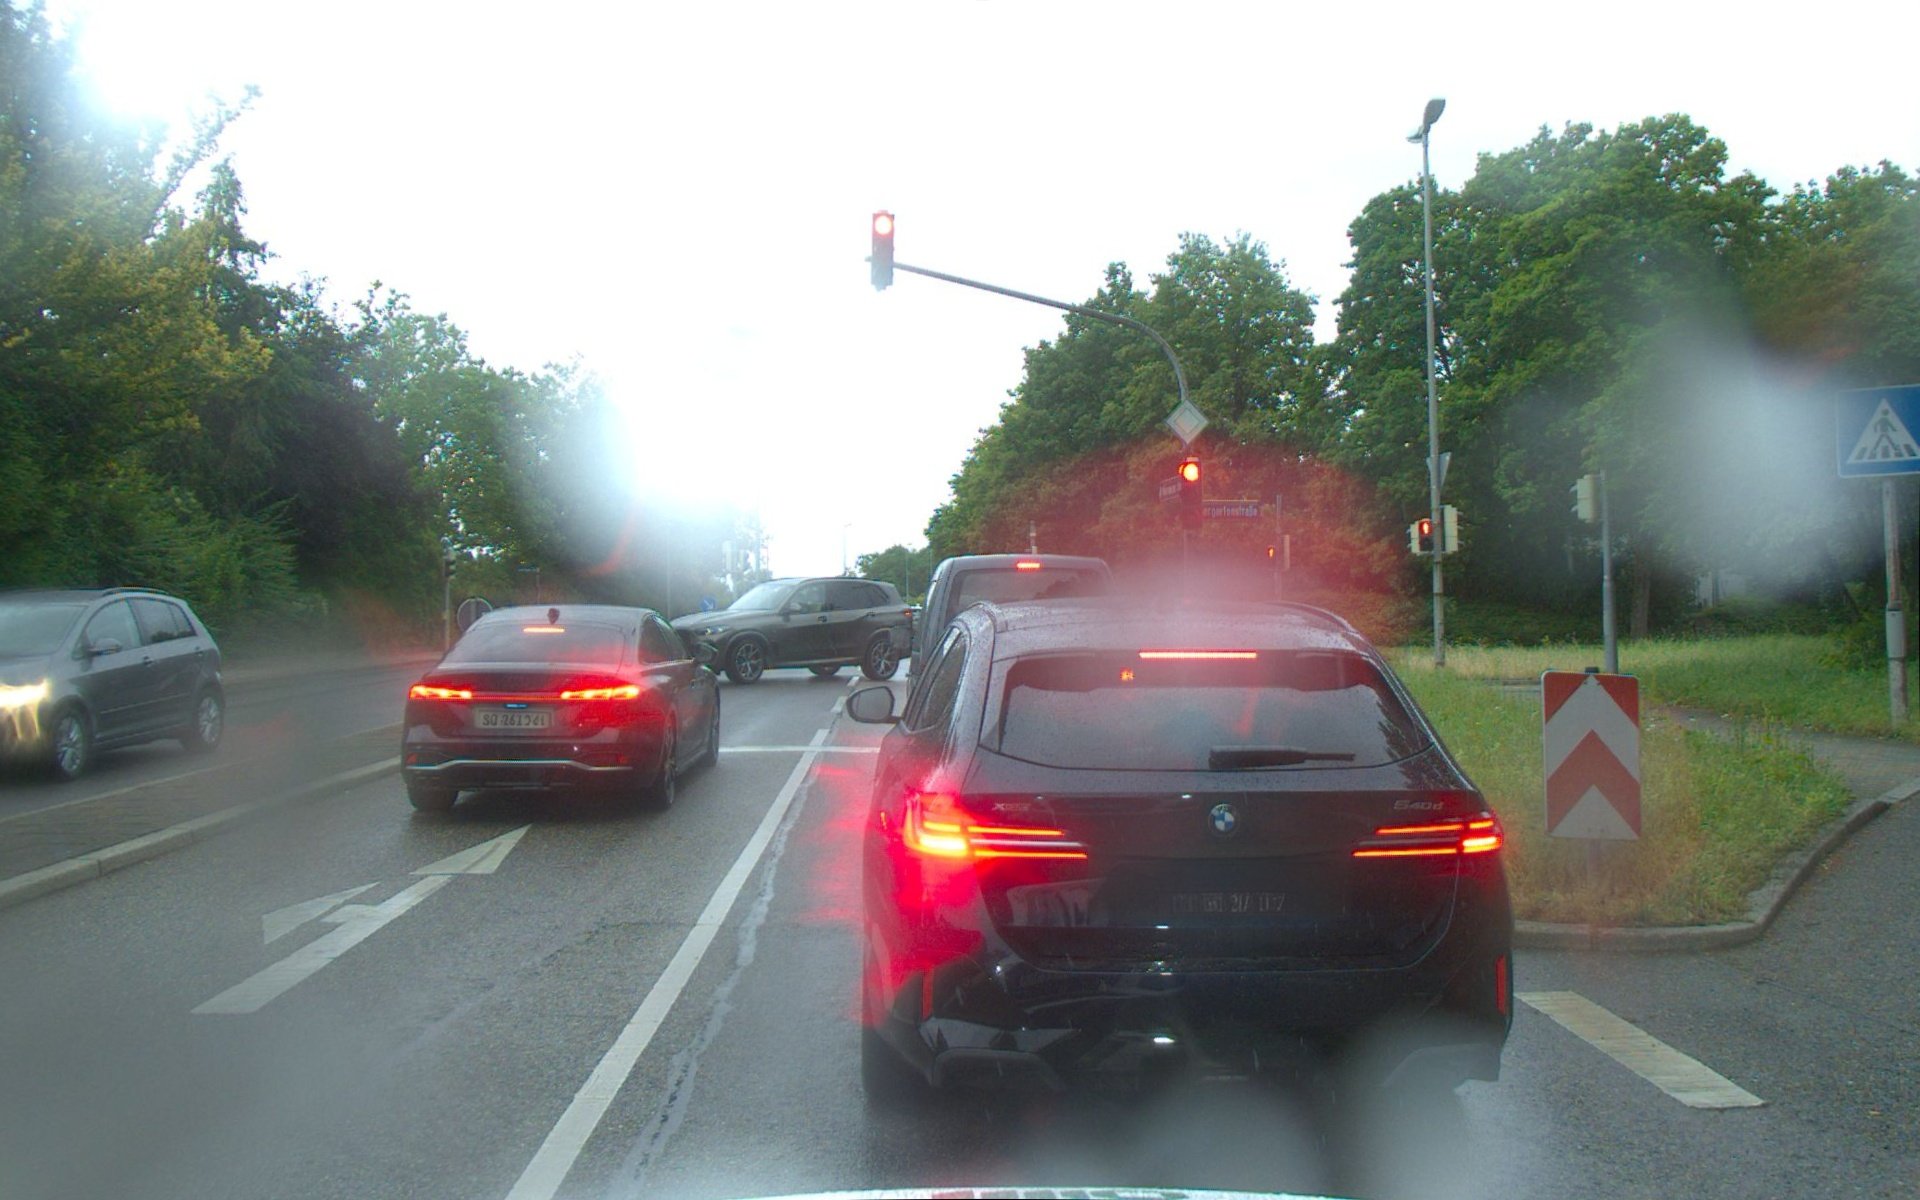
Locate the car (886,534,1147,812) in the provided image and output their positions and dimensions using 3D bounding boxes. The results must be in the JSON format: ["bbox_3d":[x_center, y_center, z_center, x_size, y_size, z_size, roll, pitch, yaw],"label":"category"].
[{"bbox_3d":[0.378,0.515,13.338,1.781,1.901,3.952,0,0,0],"label":"car"}]

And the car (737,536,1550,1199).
[{"bbox_3d":[0.526,0.689,6.119,1.858,1.578,4.616,1,-1,3],"label":"car"}]

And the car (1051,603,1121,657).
[{"bbox_3d":[3.964,0.921,52.455,1.835,1.569,3.952,-2,0,0],"label":"car"}]

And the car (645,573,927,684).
[{"bbox_3d":[-2.991,0.454,29.108,4.676,1.747,1.970,-2,0,-42],"label":"car"}]

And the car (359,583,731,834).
[{"bbox_3d":[-3.002,0.722,12.958,1.954,1.554,4.325,-2,0,-3],"label":"car"}]

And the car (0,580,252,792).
[{"bbox_3d":[-8.139,0.683,14.784,1.706,1.630,4.033,-2,0,2],"label":"car"}]

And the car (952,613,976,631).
[{"bbox_3d":[0.420,2.197,163.876,1.951,1.652,3.954,-2,0,5],"label":"car"}]
